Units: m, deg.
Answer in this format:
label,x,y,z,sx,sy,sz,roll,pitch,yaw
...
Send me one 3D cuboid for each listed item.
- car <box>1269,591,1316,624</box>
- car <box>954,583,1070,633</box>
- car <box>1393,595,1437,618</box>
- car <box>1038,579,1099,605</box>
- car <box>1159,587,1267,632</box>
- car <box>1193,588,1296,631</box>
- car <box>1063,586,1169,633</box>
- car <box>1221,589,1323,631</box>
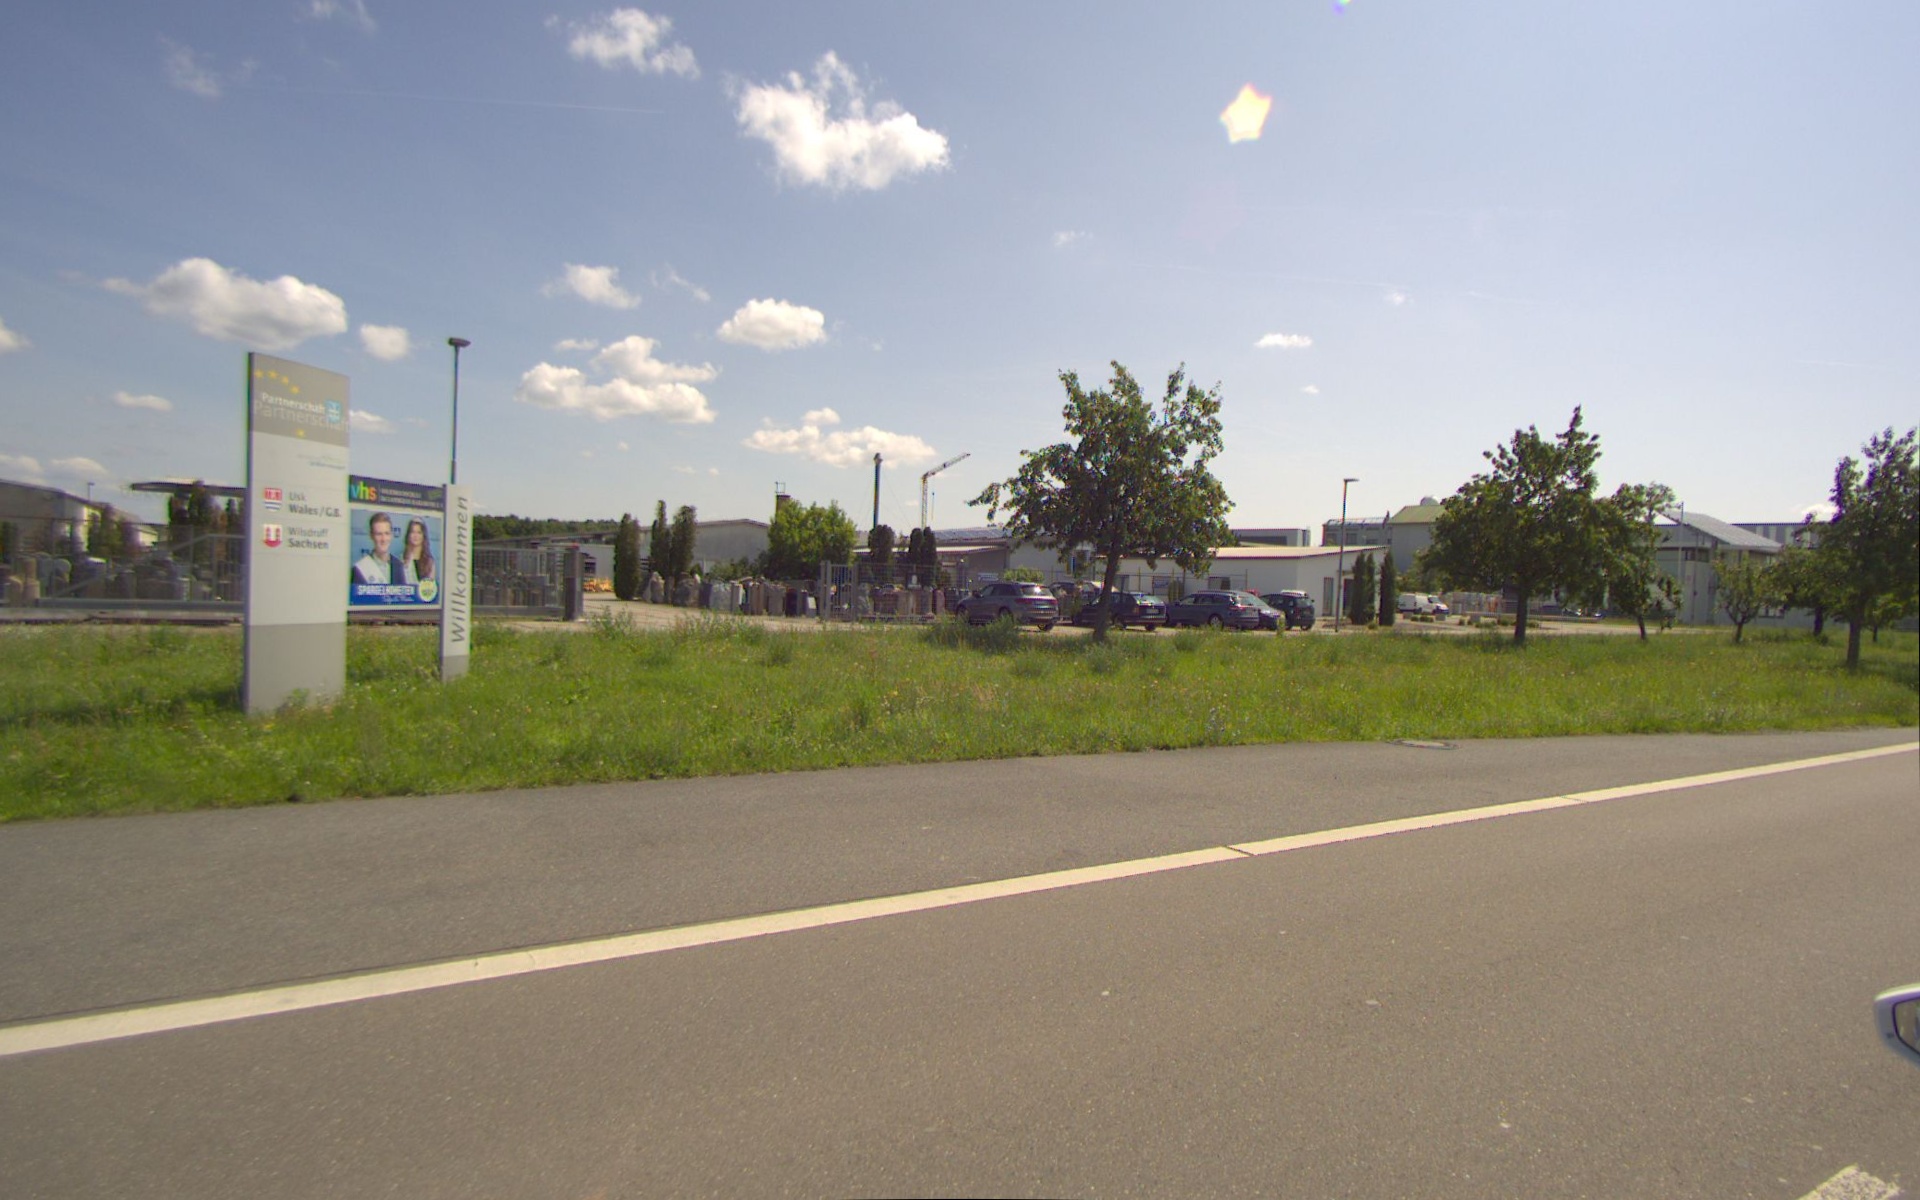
label,x,y,z,sx,sy,sz,roll,pitch,yaw
car,18.002,0.365,54.333,1.962,1.662,4.167,3,1,24
car,1.751,0.260,35.048,1.981,1.548,3.959,1,2,-36
car,43.279,0.664,95.553,4.705,2.041,1.976,1,2,-42
car,7.121,-0.547,66.449,1.975,1.504,4.139,1,1,-28
car,10.367,0.374,41.423,1.981,1.662,3.959,1,2,-36
car,12.241,0.392,43.355,1.840,1.662,3.959,1,2,-36
car,5.880,0.337,38.226,1.650,1.576,3.959,1,1,-36
car,13.981,0.439,45.208,1.981,1.662,3.959,1,2,-36
